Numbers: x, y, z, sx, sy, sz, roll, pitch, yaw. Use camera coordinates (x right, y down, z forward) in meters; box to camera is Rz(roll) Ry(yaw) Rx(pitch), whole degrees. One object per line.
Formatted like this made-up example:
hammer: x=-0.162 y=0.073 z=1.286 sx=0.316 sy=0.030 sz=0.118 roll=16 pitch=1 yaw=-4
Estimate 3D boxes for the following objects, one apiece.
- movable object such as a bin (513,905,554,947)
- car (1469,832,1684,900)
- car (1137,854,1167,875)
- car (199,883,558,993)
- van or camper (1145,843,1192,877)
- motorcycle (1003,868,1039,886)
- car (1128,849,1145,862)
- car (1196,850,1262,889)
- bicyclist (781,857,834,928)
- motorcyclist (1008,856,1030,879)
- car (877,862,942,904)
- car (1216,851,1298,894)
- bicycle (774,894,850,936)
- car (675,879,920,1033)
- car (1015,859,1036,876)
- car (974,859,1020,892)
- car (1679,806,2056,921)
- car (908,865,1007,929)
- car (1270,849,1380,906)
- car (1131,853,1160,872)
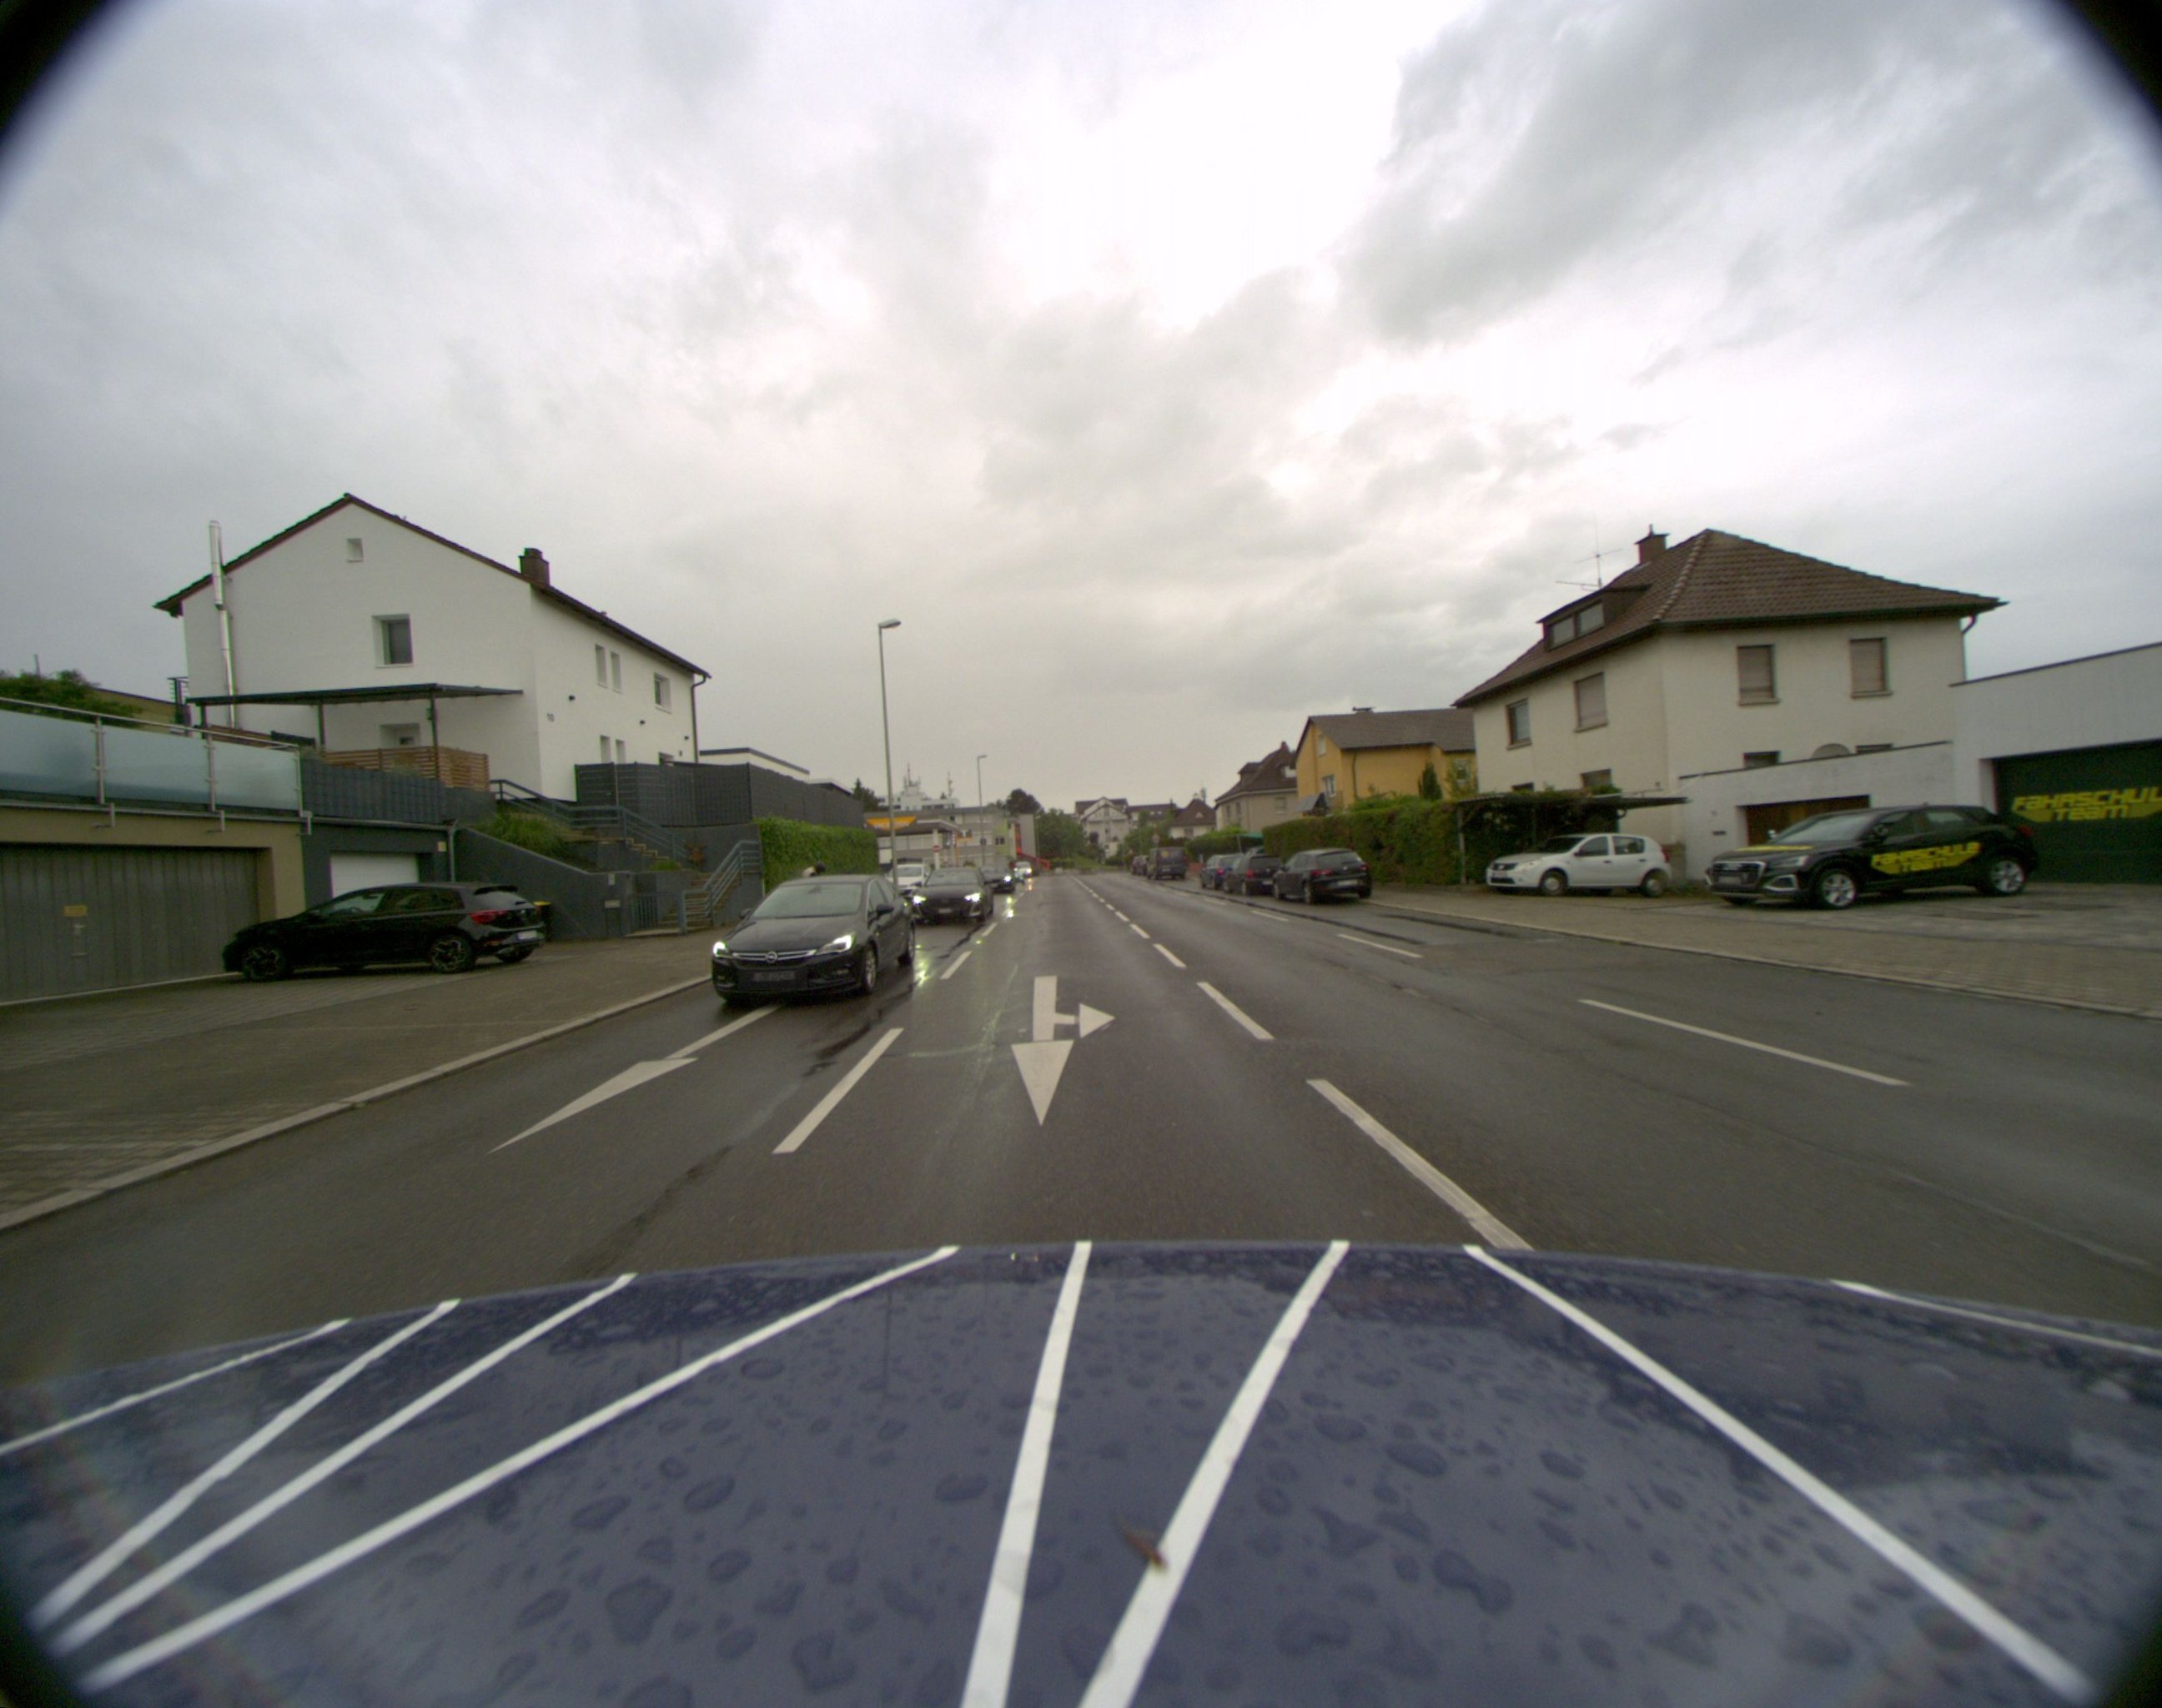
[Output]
movable object such as a bin: x=-12.411 y=1.630 z=17.229 sx=0.514 sy=0.874 sz=0.529 roll=-2 pitch=1 yaw=0
car: x=11.804 y=0.307 z=18.226 sx=4.112 sy=1.475 sz=1.839 roll=1 pitch=-1 yaw=-8
car: x=5.432 y=0.753 z=58.660 sx=1.888 sy=1.477 sz=4.000 roll=-2 pitch=0 yaw=0
car: x=-11.143 y=1.286 z=12.332 sx=3.999 sy=1.395 sz=1.672 roll=-2 pitch=0 yaw=-8
van or camper: x=5.525 y=0.342 z=48.573 sx=2.190 sy=2.002 sz=5.132 roll=-3 pitch=1 yaw=-2
motorcycle: x=-3.915 y=1.504 z=49.366 sx=0.946 sy=1.101 sz=2.399 roll=-3 pitch=1 yaw=-43
car: x=7.533 y=0.216 z=103.733 sx=1.999 sy=1.565 sz=3.999 roll=-3 pitch=1 yaw=0
car: x=6.337 y=0.627 z=32.970 sx=1.810 sy=1.505 sz=3.998 roll=-2 pitch=0 yaw=-3
bicyclist: x=-6.559 y=0.902 z=18.267 sx=0.809 sy=1.633 sz=0.906 roll=-2 pitch=1 yaw=8
motorcyclist: x=-4.066 y=0.897 z=49.451 sx=0.955 sy=1.413 sz=0.990 roll=-3 pitch=1 yaw=-43
car: x=-6.970 y=1.135 z=31.259 sx=1.737 sy=1.481 sz=4.000 roll=-2 pitch=0 yaw=0
car: x=6.307 y=0.628 z=27.692 sx=1.810 sy=1.407 sz=3.998 roll=-2 pitch=0 yaw=-3
bicycle: x=-6.491 y=1.447 z=18.475 sx=0.732 sy=0.821 sz=2.235 roll=-2 pitch=0 yaw=9
car: x=-3.431 y=1.147 z=10.081 sx=1.841 sy=1.390 sz=3.998 roll=-2 pitch=1 yaw=-3
car: x=-5.325 y=1.309 z=72.859 sx=1.841 sy=1.472 sz=4.000 roll=-2 pitch=-1 yaw=-3
car: x=-4.189 y=1.113 z=38.427 sx=1.841 sy=1.447 sz=4.002 roll=-2 pitch=-4 yaw=-1
car: x=12.518 y=0.140 z=12.312 sx=4.109 sy=1.411 sz=1.884 roll=-4 pitch=0 yaw=-1
car: x=-3.273 y=1.097 z=21.109 sx=1.910 sy=1.390 sz=4.856 roll=-3 pitch=1 yaw=0
car: x=6.855 y=0.614 z=21.762 sx=1.809 sy=1.407 sz=4.000 roll=-2 pitch=0 yaw=0
car: x=5.350 y=0.699 z=63.121 sx=1.889 sy=1.477 sz=3.999 roll=-2 pitch=0 yaw=-2
